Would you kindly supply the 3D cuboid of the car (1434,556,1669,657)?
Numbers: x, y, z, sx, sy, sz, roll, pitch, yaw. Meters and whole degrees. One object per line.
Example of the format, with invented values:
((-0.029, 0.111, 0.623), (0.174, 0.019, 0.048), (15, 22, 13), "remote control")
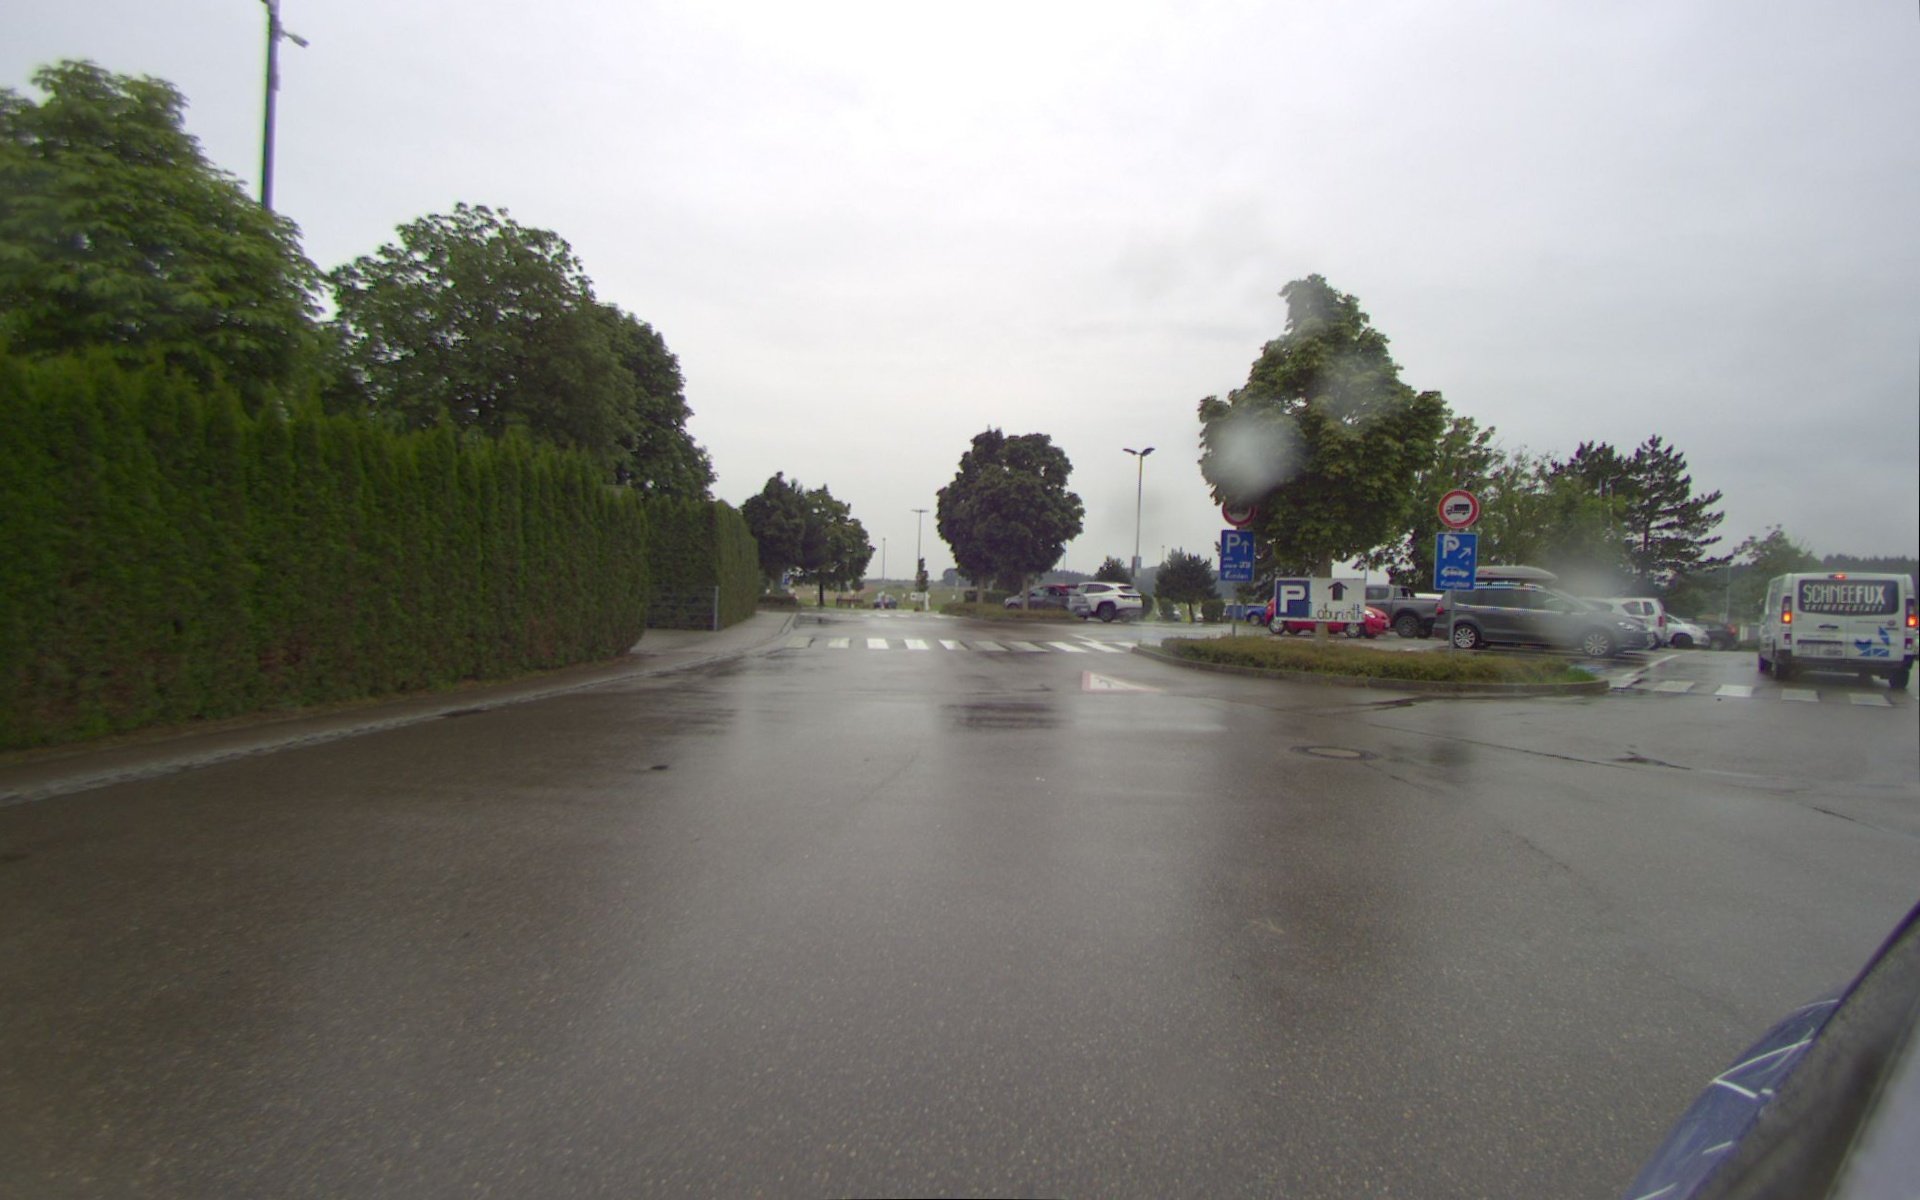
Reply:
((14.758, 0.078, 25.410), (4.750, 2.215, 1.970), (4, 3, 42), "car")

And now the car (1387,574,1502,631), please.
((19.113, 0.070, 39.952), (3.766, 2.038, 1.763), (3, 1, 38), "car")

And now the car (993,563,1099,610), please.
((3.417, -0.566, 40.732), (4.036, 1.713, 1.772), (4, 3, 43), "car")

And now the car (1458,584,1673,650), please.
((16.376, 0.389, 27.535), (4.750, 1.490, 1.858), (4, 3, 42), "car")

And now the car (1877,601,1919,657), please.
((30.877, 0.970, 30.947), (4.079, 1.648, 1.760), (4, 3, 42), "car")

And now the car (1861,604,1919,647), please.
((37.251, 1.045, 38.715), (4.079, 1.515, 1.740), (4, 3, 42), "car")

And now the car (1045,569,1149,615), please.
((5.720, -0.366, 42.517), (4.033, 1.713, 1.687), (4, 3, 42), "car")

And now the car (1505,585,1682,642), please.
((21.234, 0.400, 34.035), (4.750, 1.606, 1.970), (4, 3, 42), "car")

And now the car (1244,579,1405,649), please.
((11.469, 0.376, 31.988), (4.379, 1.908, 1.899), (3, 3, 39), "car")

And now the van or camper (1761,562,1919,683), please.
((16.818, 0.350, 19.310), (2.182, 1.969, 5.128), (2, 2, 37), "van or camper")

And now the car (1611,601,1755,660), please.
((30.558, 1.235, 42.855), (4.750, 2.106, 1.970), (4, 3, 42), "car")

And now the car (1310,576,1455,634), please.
((14.971, 0.136, 35.964), (4.379, 1.800, 1.899), (3, 3, 39), "car")

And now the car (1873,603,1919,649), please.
((34.458, 0.959, 35.076), (4.079, 1.515, 1.740), (4, 3, 42), "car")
